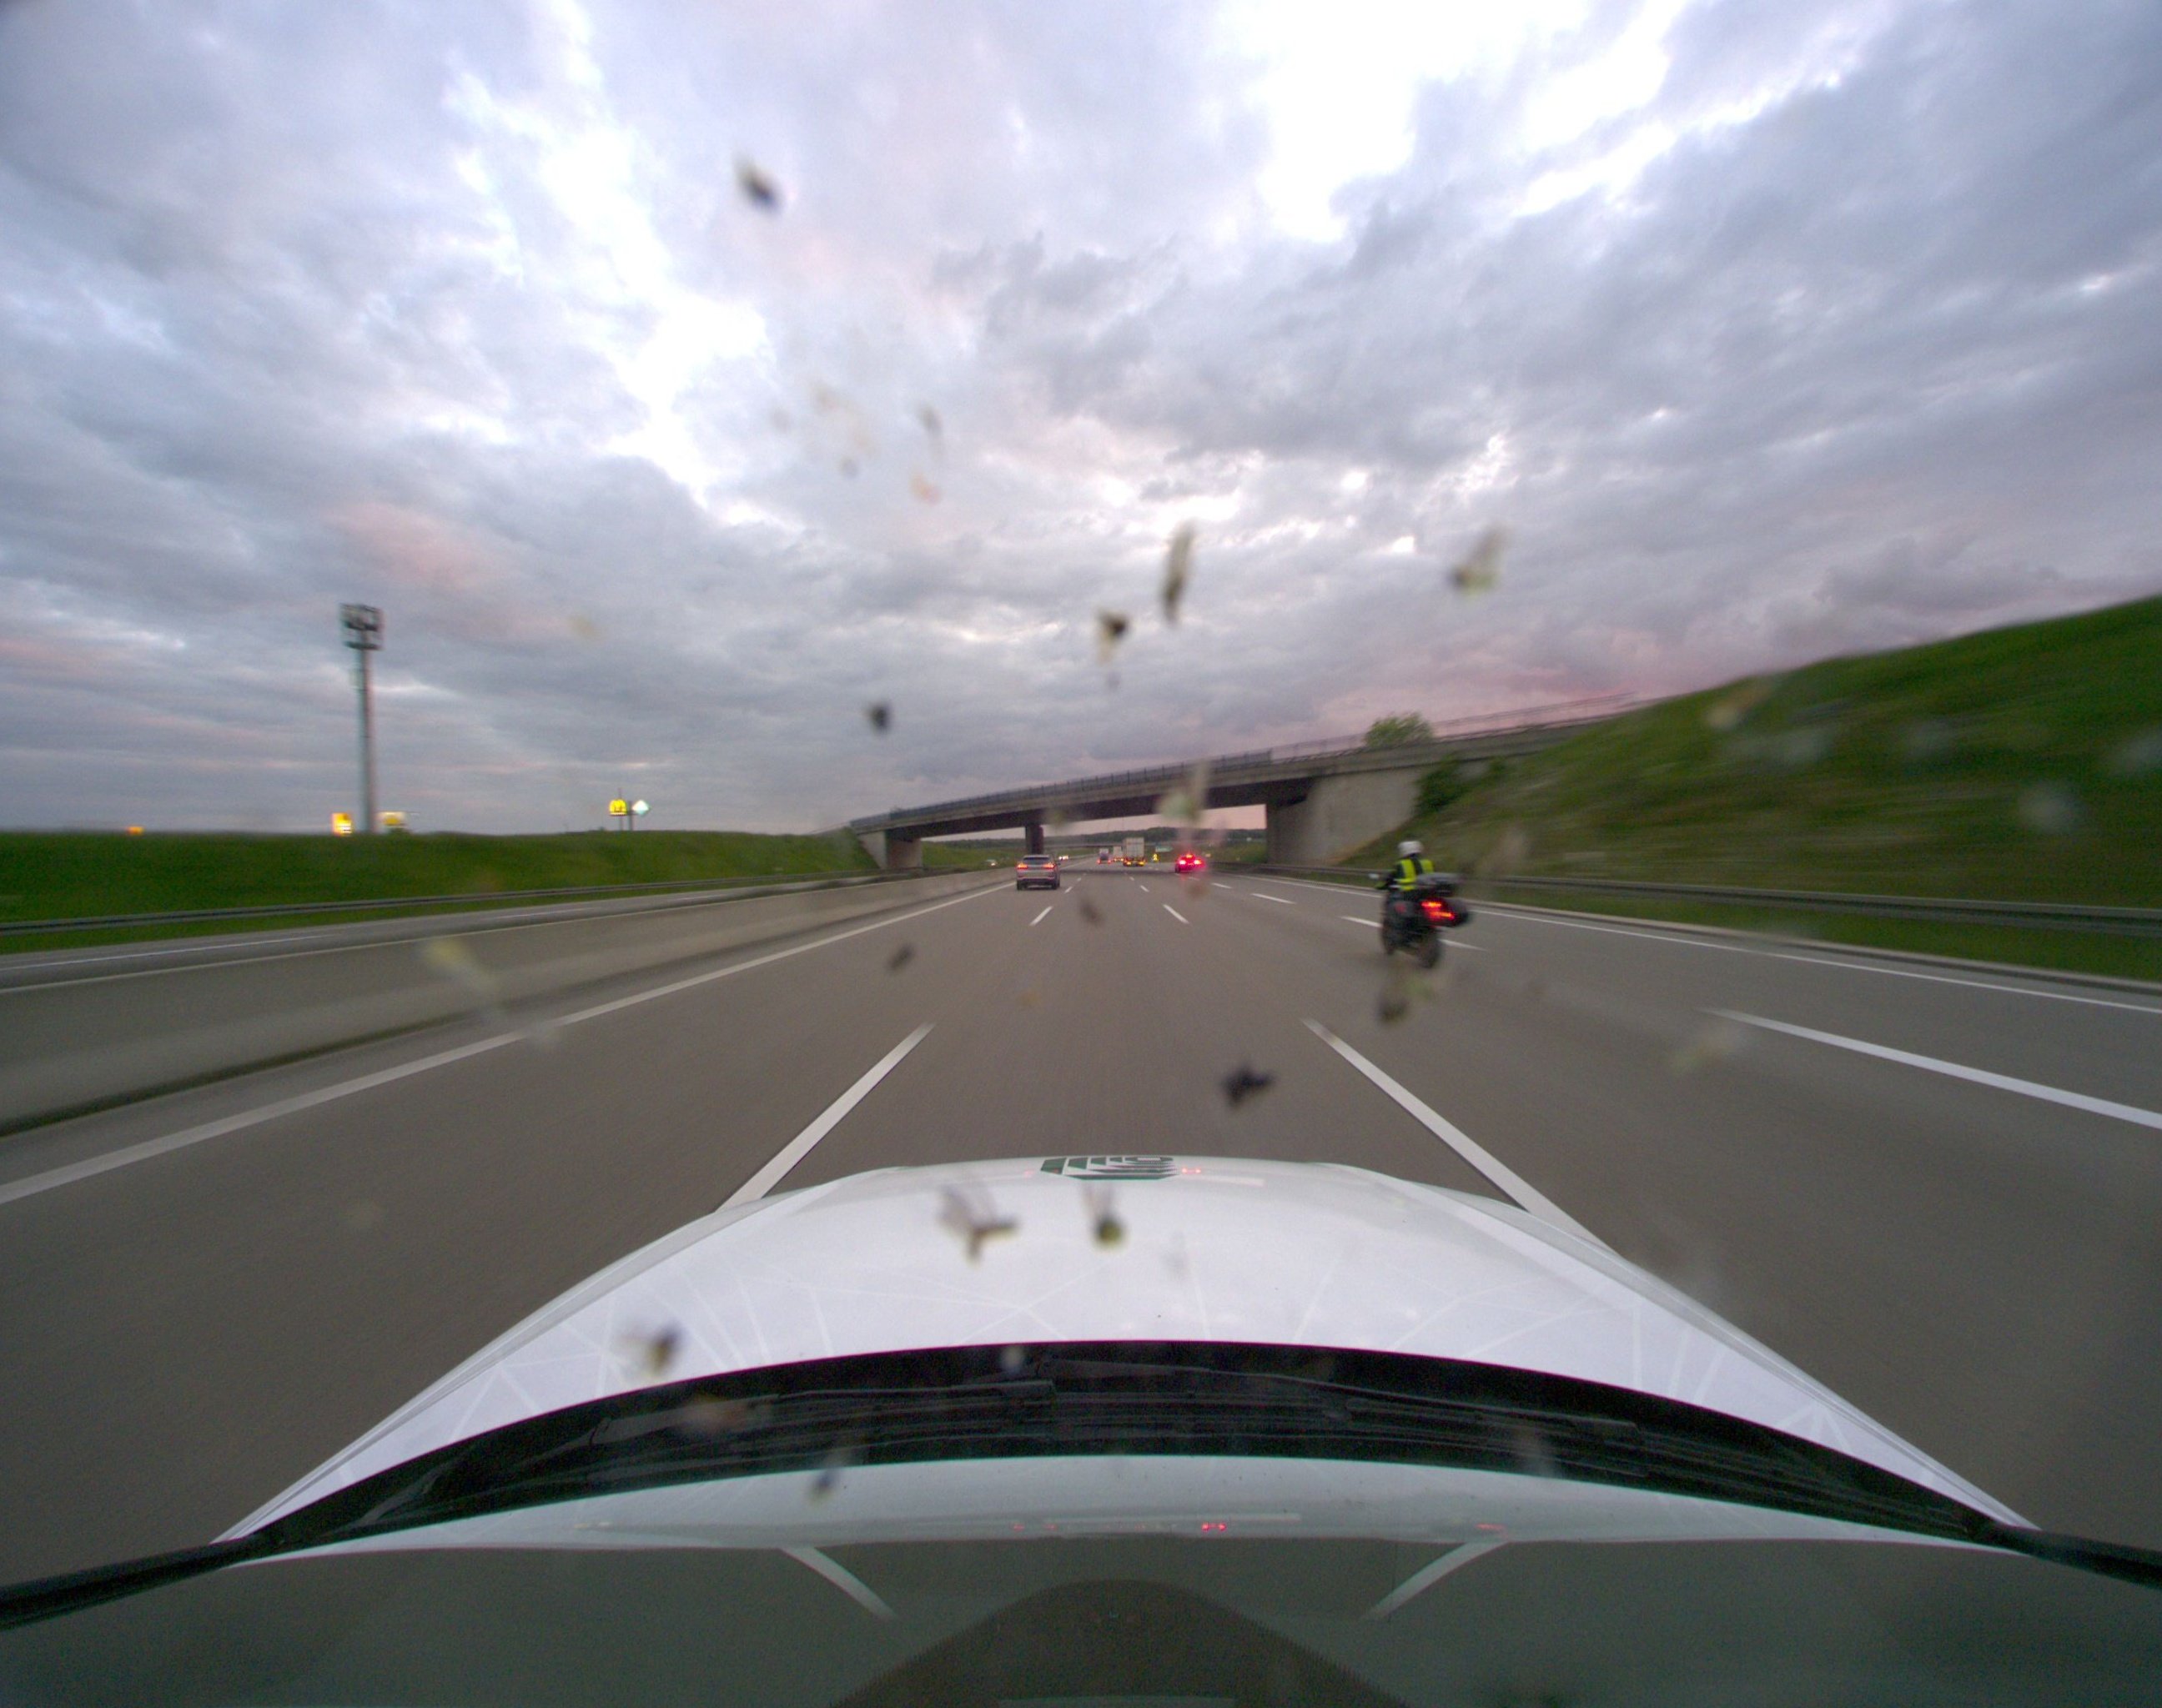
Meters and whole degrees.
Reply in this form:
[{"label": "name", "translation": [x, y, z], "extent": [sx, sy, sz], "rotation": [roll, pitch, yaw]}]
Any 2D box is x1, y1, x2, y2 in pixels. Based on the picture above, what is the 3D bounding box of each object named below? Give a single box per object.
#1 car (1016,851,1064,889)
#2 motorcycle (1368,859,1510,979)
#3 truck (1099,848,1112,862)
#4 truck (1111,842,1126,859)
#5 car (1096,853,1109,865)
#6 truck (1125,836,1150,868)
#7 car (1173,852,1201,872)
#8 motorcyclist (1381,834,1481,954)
[{"label": "car", "translation": [-1.915, 0.708, 39.318], "extent": [1.845, 1.692, 5.514], "rotation": [-1, 0, 2]}, {"label": "motorcycle", "translation": [4.610, 0.769, 10.719], "extent": [0.898, 1.346, 2.350], "rotation": [-1, 1, 2]}, {"label": "truck", "translation": [5.603, 0.182, 186.454], "extent": [2.941, 3.217, 8.407], "rotation": [0, 0, 1]}, {"label": "truck", "translation": [9.720, -0.881, 211.121], "extent": [3.513, 4.345, 8.407], "rotation": [0, 0, 1]}, {"label": "car", "translation": [4.506, 0.933, 170.268], "extent": [2.508, 2.391, 6.497], "rotation": [-2, 0, 1]}, {"label": "truck", "translation": [7.886, -0.340, 114.988], "extent": [3.221, 4.227, 9.604], "rotation": [0, 0, 2]}, {"label": "car", "translation": [9.100, 0.678, 70.254], "extent": [1.911, 1.579, 4.001], "rotation": [-2, 0, 1]}, {"label": "motorcyclist", "translation": [4.583, 0.494, 10.739], "extent": [0.862, 1.487, 1.169], "rotation": [0, 0, 3]}]
